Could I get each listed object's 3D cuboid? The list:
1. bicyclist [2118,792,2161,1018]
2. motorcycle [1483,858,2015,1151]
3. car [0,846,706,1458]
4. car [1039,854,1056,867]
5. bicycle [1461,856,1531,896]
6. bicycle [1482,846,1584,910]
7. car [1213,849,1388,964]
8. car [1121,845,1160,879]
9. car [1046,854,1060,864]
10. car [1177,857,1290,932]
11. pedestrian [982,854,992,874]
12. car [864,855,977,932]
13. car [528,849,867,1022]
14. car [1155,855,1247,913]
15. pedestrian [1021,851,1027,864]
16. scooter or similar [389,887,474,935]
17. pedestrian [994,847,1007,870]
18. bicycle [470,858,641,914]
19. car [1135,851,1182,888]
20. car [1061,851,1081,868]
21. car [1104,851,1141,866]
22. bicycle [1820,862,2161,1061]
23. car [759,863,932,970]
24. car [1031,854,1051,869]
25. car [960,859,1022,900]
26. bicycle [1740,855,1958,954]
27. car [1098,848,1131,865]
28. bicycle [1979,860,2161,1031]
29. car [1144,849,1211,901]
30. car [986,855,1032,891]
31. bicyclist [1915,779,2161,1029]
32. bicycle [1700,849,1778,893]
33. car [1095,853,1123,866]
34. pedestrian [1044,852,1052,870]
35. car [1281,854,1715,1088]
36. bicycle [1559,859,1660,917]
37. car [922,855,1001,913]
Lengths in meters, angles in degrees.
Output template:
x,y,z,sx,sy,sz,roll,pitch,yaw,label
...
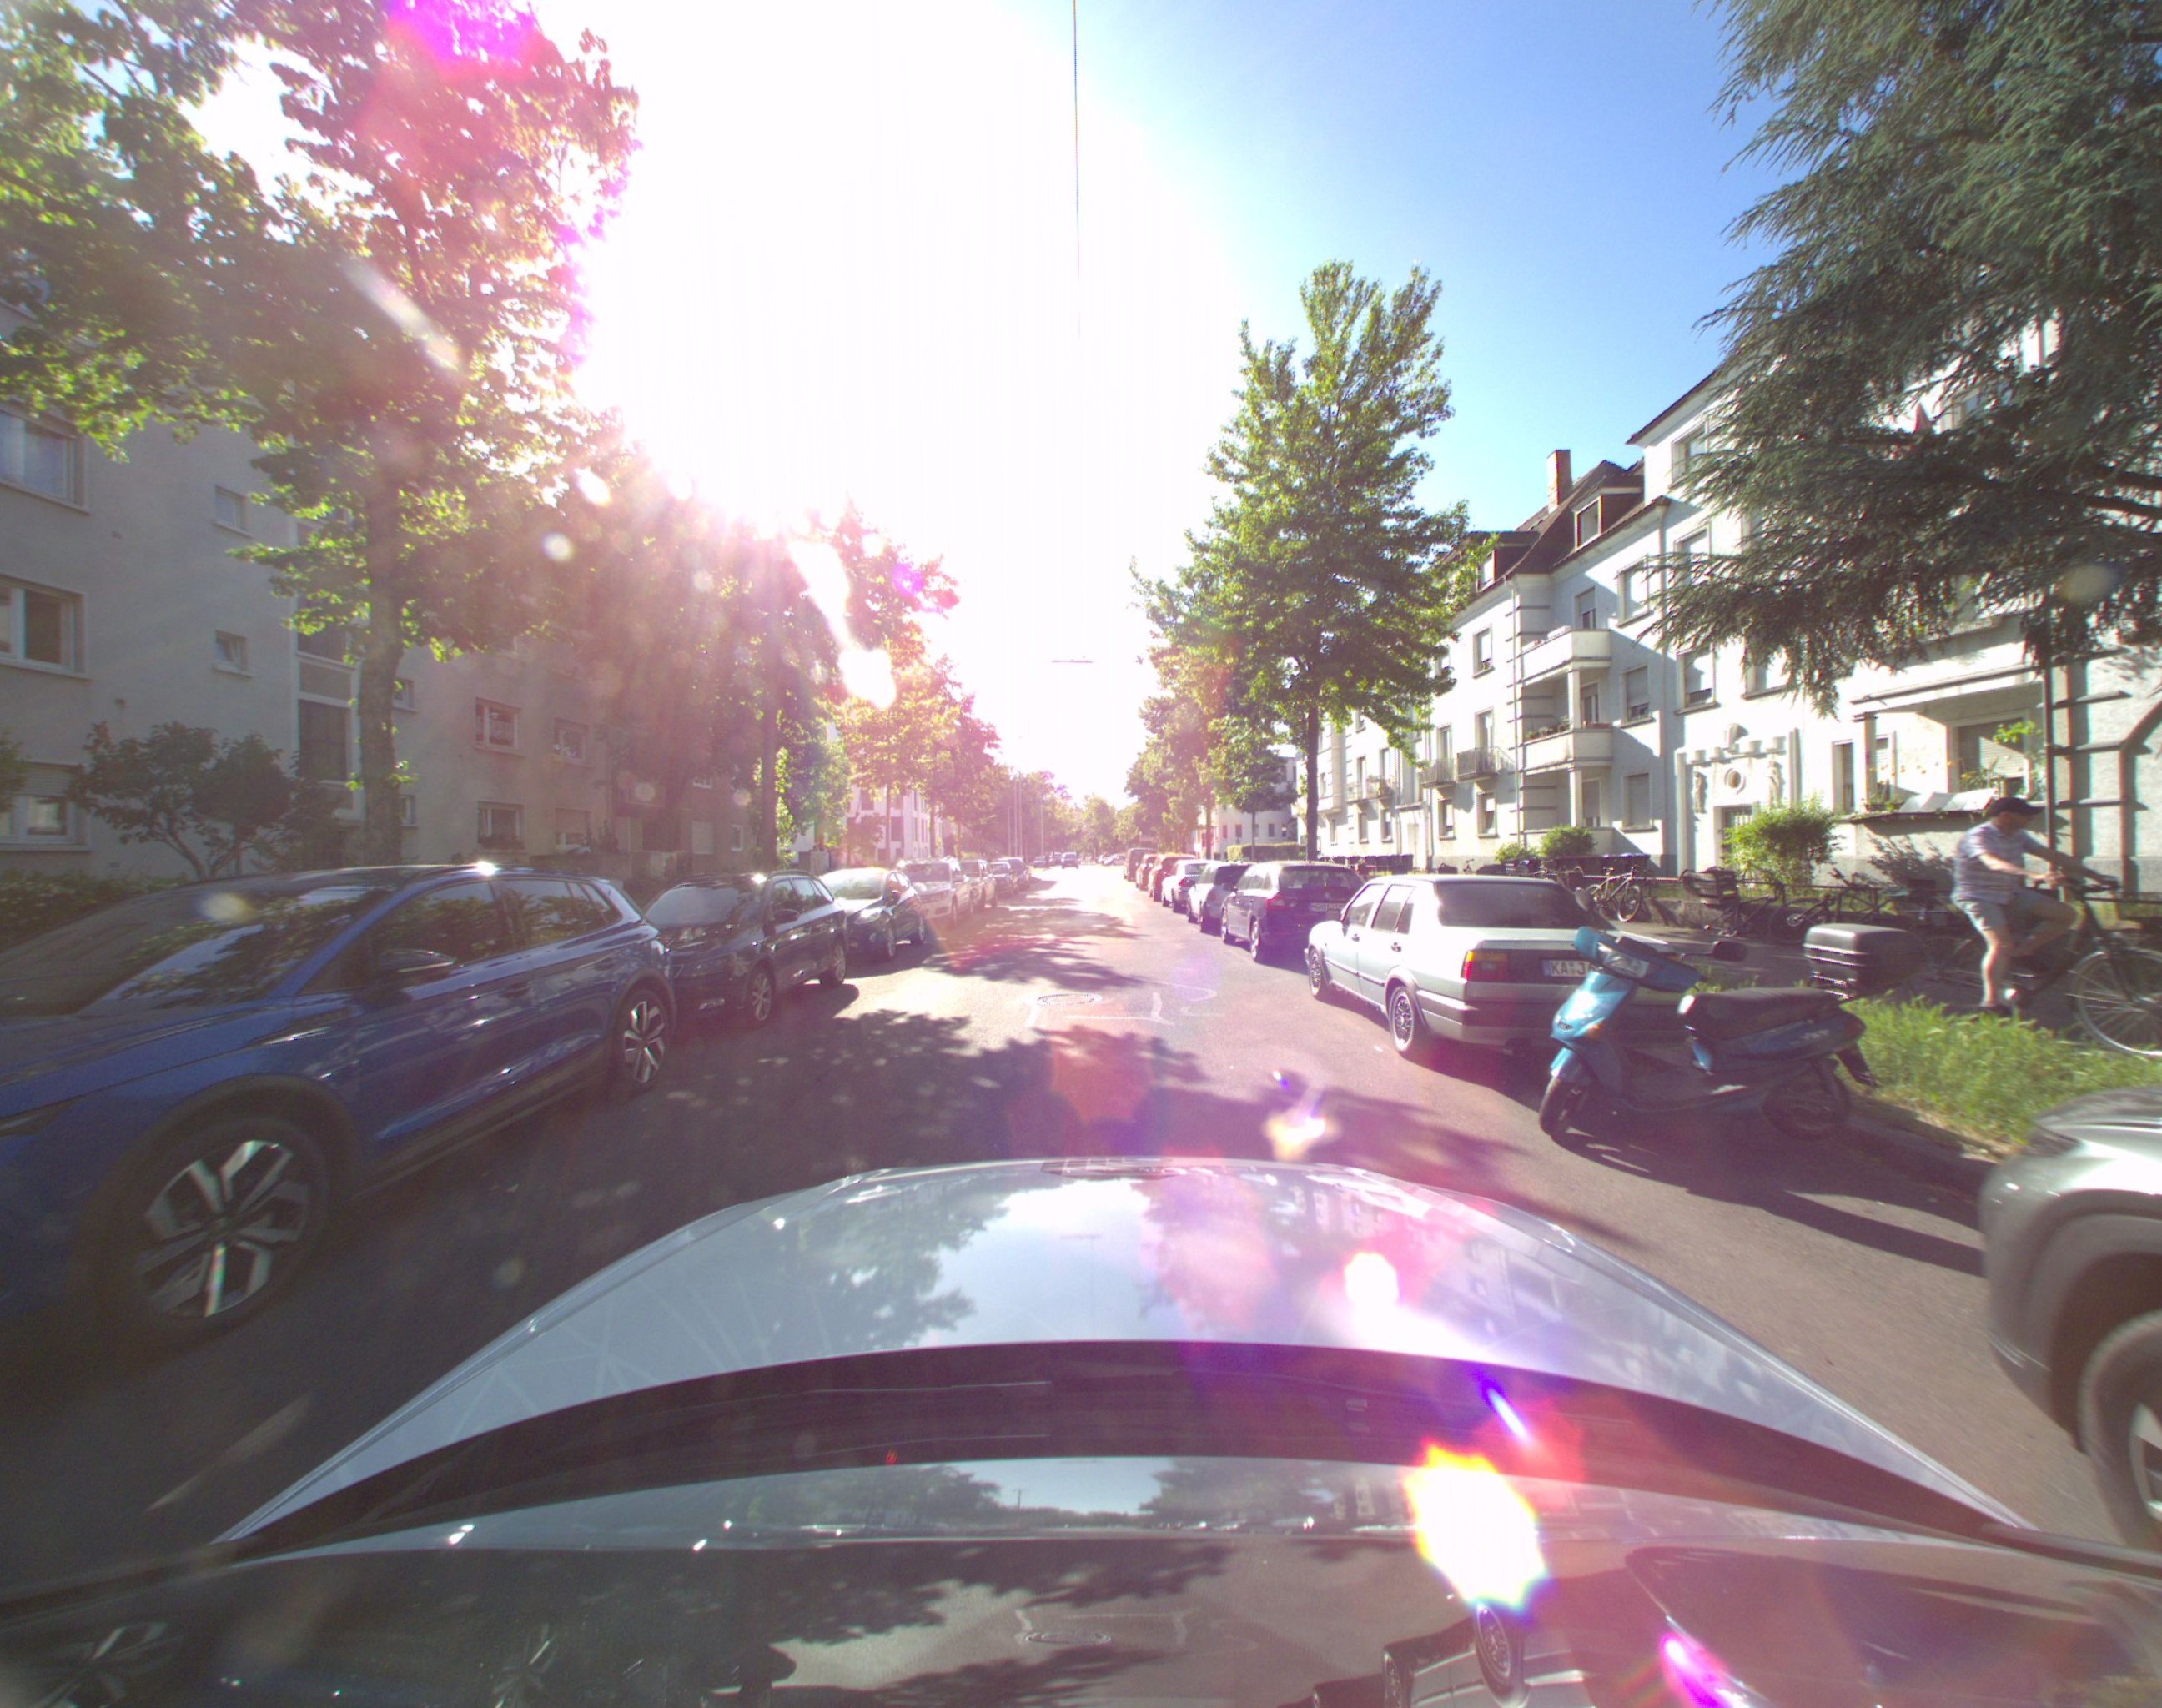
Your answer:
x,y,z,sx,sy,sz,roll,pitch,yaw,label
7.773,0.343,5.315,0.674,1.553,1.021,-1,0,-3,bicyclist
3.544,0.757,4.451,2.344,1.423,0.687,-1,0,-1,motorcycle
-3.790,0.828,4.116,1.785,1.566,4.461,-4,0,-3,car
-4.441,0.862,109.332,1.987,1.585,4.000,-1,0,1,car
11.214,0.583,22.021,1.574,0.971,0.501,-4,0,0,bicycle
9.474,0.482,17.191,0.836,1.257,2.229,0,0,-3,bicycle
3.300,0.690,13.131,1.687,1.540,4.441,0,0,1,car
3.612,0.473,50.181,1.964,1.949,4.984,-1,0,0,car
-4.487,0.815,131.119,1.987,1.585,4.000,-1,0,1,car
3.213,0.793,17.862,1.783,1.453,3.781,0,0,0,car
-9.337,0.986,80.779,0.857,2.013,0.980,-1,0,-2,pedestrian
-3.709,0.844,19.592,1.805,1.596,4.232,-2,0,0,car
-3.925,0.723,9.253,1.823,1.453,4.122,-2,0,0,car
3.343,0.799,23.643,1.891,1.474,4.697,2,0,-1,car
-9.006,0.623,127.995,0.858,2.013,0.979,-1,0,-6,pedestrian
-14.731,1.269,18.516,0.781,0.990,1.410,-1,0,0,scooter or similar
-7.088,0.359,71.892,0.854,2.013,0.983,-1,0,9,pedestrian
-12.167,0.706,19.031,0.904,1.136,3.258,-1,0,34,bicycle
3.549,0.684,37.952,1.828,1.600,4.159,1,0,1,car
-0.960,0.500,80.722,1.777,1.609,4.001,-2,0,1,car
4.666,0.461,92.523,3.979,1.587,1.725,-1,0,-4,car
6.756,0.655,5.817,0.682,1.153,2.401,-2,0,-3,bicycle
-3.810,0.936,13.921,1.756,1.443,3.908,-3,0,0,car
-4.619,0.839,94.044,1.987,1.671,4.000,-1,0,1,car
-3.661,1.014,33.846,1.987,1.453,4.261,-4,0,0,car
9.531,0.572,10.242,0.802,1.115,1.998,-1,0,-2,bicycle
4.132,0.332,100.570,3.977,2.013,1.998,-1,0,-2,car
7.779,0.634,5.502,0.682,1.153,2.401,-2,0,-3,bicycle
3.421,0.702,29.672,1.901,1.699,4.313,2,0,0,car
-3.463,0.891,39.918,1.834,1.595,4.261,-3,0,0,car
6.743,0.324,5.773,0.675,1.609,0.921,-1,0,-3,bicyclist
16.175,0.412,20.026,1.578,0.971,0.474,-4,0,-7,bicycle
4.159,0.764,121.172,3.983,1.882,1.995,-1,0,-7,car
-3.468,0.710,86.524,0.715,1.900,0.834,-1,0,-9,pedestrian
3.238,0.756,7.489,1.745,1.454,4.462,1,0,1,car
9.538,0.578,14.790,0.593,0.957,1.903,-2,0,1,bicycle
-3.583,0.847,25.135,1.704,1.544,3.931,-3,0,1,car
